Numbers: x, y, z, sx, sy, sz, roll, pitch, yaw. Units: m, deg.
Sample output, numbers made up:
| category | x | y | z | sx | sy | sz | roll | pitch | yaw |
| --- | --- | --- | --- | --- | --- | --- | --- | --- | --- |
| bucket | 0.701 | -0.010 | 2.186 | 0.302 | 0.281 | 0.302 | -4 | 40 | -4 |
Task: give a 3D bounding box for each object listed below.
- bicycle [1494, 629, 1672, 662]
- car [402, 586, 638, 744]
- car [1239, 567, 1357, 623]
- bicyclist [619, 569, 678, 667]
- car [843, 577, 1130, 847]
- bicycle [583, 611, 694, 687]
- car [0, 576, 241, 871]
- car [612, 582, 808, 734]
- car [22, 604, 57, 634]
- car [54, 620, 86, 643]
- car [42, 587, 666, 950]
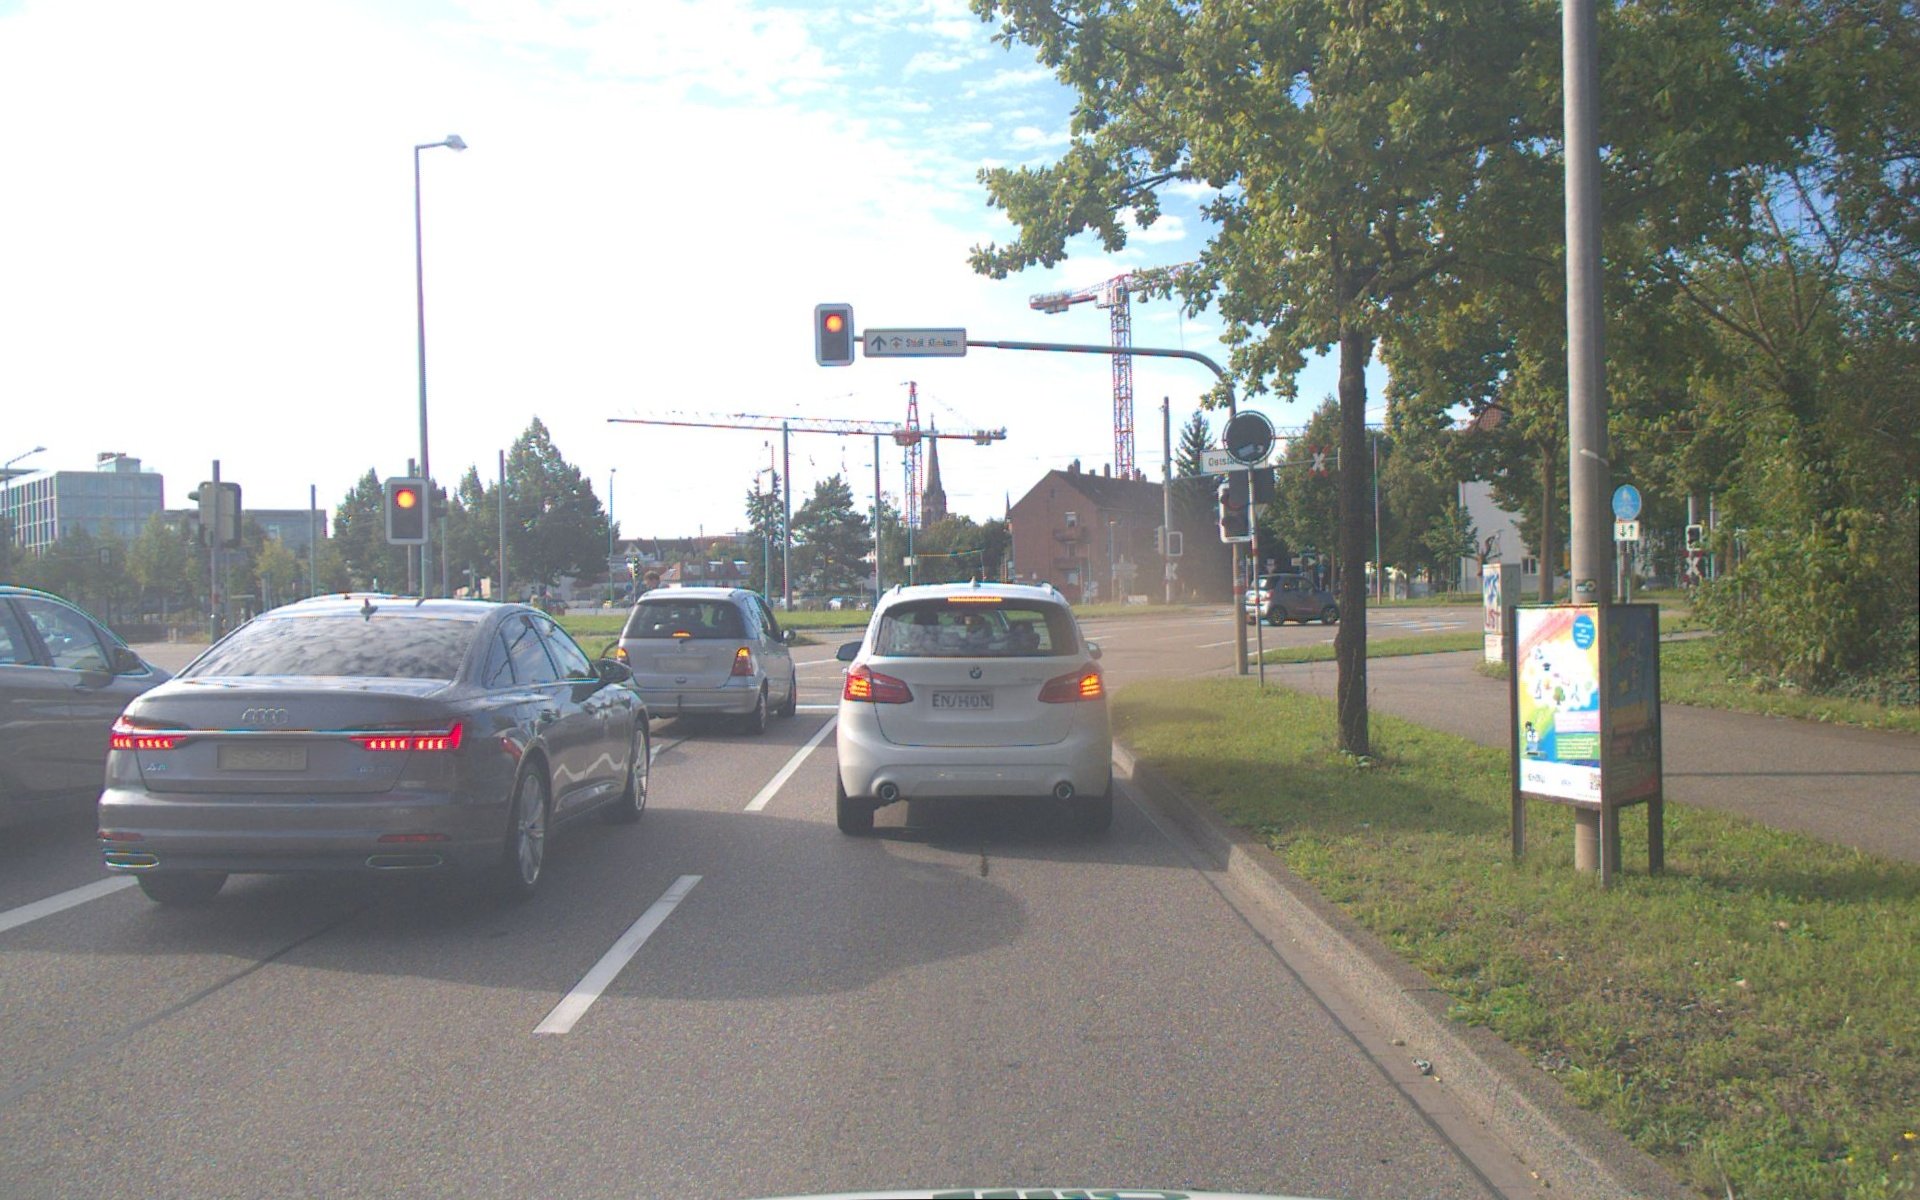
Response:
| category | x | y | z | sx | sy | sz | roll | pitch | yaw |
| --- | --- | --- | --- | --- | --- | --- | --- | --- | --- |
| bicycle | 9.465 | 0.676 | 25.283 | 1.382 | 0.392 | 2.569 | -2 | 0 | -12 |
| car | -4.711 | 0.627 | 18.225 | 1.646 | 1.549 | 3.810 | 0 | 0 | -1 |
| car | 10.298 | -0.163 | 50.434 | 3.138 | 1.601 | 1.567 | -2 | 1 | -18 |
| bicyclist | -5.090 | 0.286 | 27.023 | 0.835 | 1.553 | 0.737 | -2 | 0 | -17 |
| car | 0.122 | 0.650 | 11.796 | 1.694 | 1.585 | 4.057 | 0 | 0 | -1 |
| bicycle | -5.245 | 0.788 | 26.986 | 1.698 | 1.184 | 0.653 | -1 | 0 | -17 |
| car | -6.011 | 0.667 | 9.878 | 1.694 | 1.586 | 4.018 | 0 | 0 | -1 |
| car | -2.793 | 0.595 | 19.274 | 1.694 | 1.585 | 4.057 | 0 | 0 | -1 |
| car | -52.068 | 1.089 | 93.615 | 1.574 | 1.439 | 3.636 | -3 | -1 | -28 |
| car | -60.847 | 2.144 | 113.090 | 1.601 | 1.490 | 3.688 | -2 | 1 | -33 |
| car | -2.941 | 0.710 | 9.229 | 1.851 | 1.509 | 4.612 | 0 | 0 | -1 |
